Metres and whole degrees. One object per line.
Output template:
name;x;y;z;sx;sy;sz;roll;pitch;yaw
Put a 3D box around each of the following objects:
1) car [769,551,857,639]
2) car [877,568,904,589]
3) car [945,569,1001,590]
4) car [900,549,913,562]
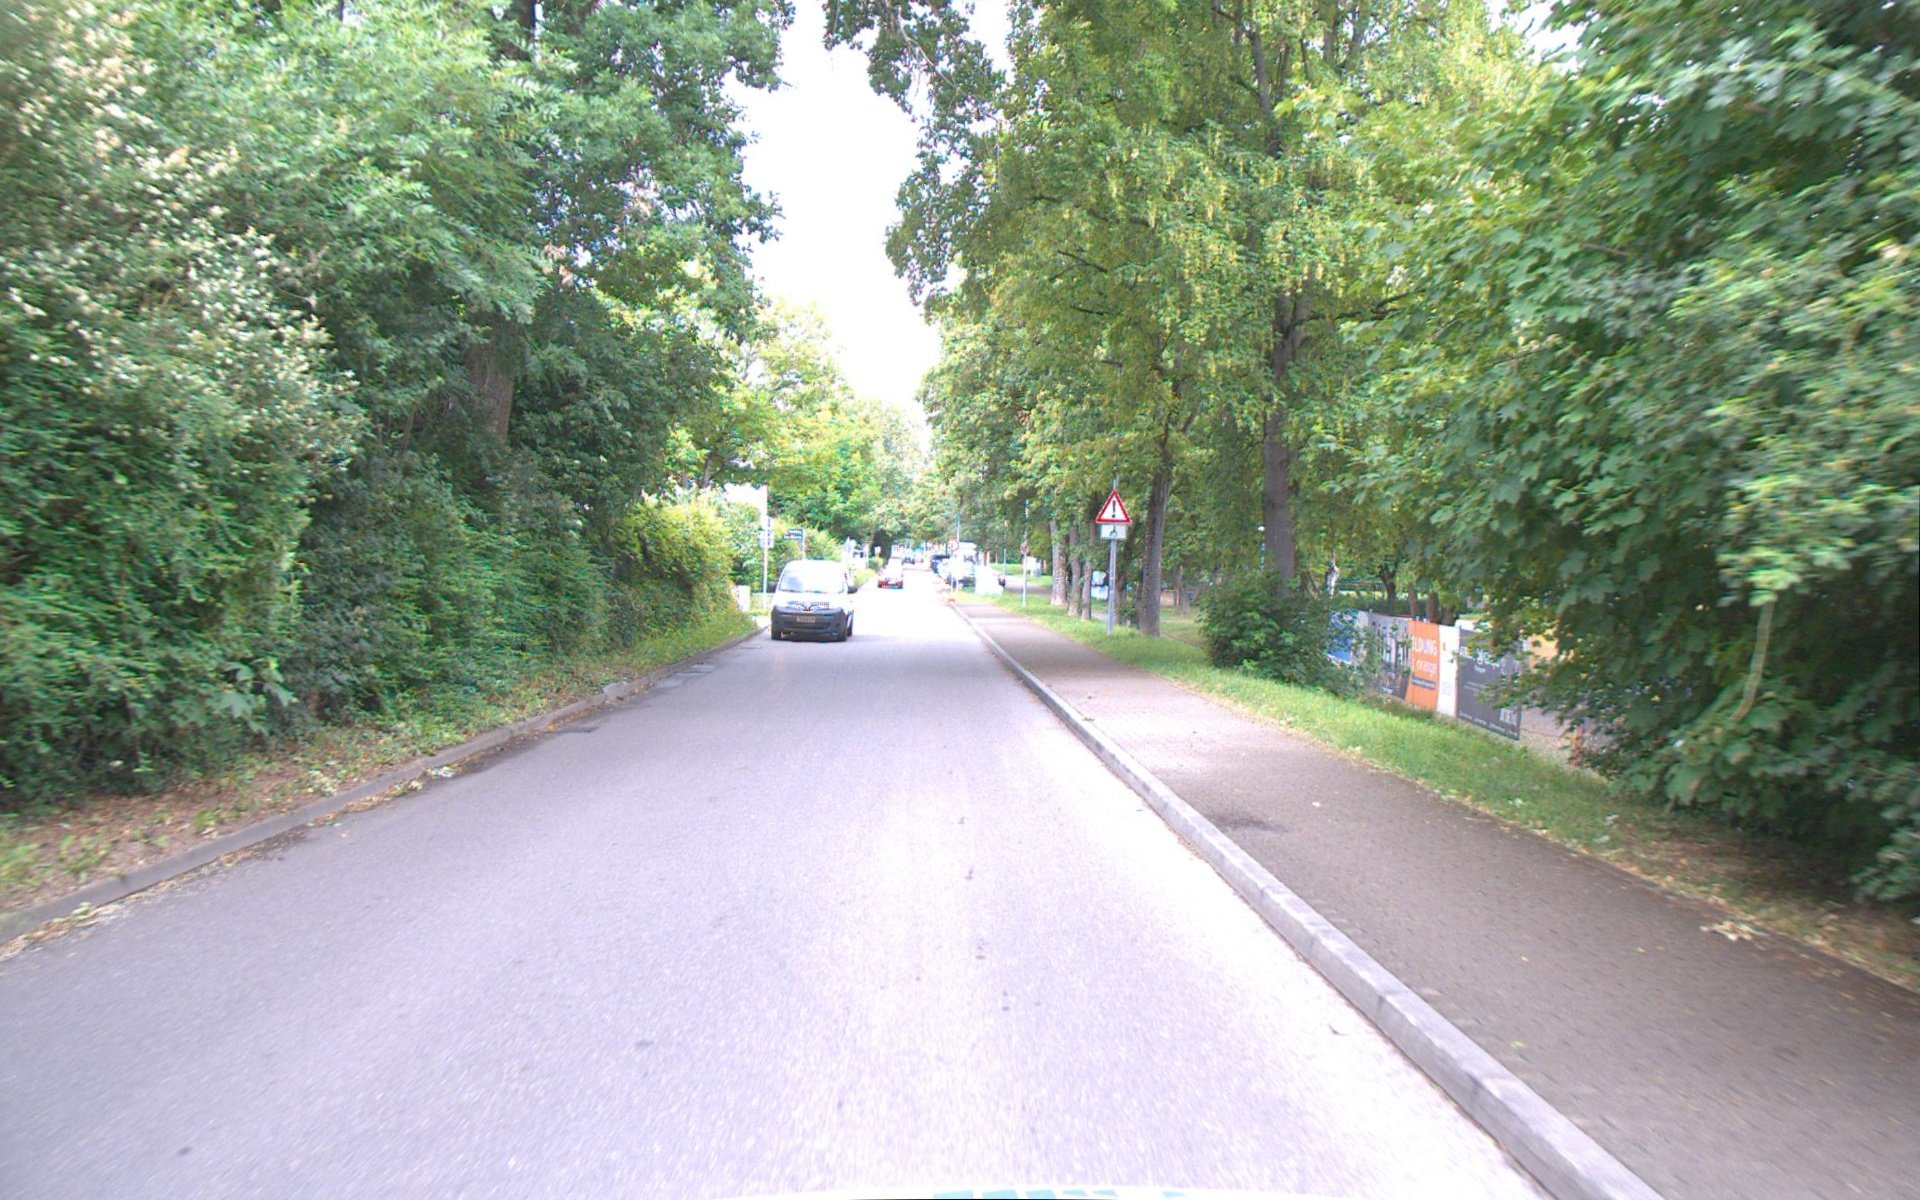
car;-3.413;-0.110;39.007;1.835;1.947;4.429;0;0;-2
car;-4.884;-1.556;116.486;1.716;1.359;4.062;2;1;-5
car;0.907;-1.482;118.992;3.981;1.459;1.999;0;0;-3
car;-7.986;-6.653;246.803;1.929;1.778;4.337;2;1;-3
